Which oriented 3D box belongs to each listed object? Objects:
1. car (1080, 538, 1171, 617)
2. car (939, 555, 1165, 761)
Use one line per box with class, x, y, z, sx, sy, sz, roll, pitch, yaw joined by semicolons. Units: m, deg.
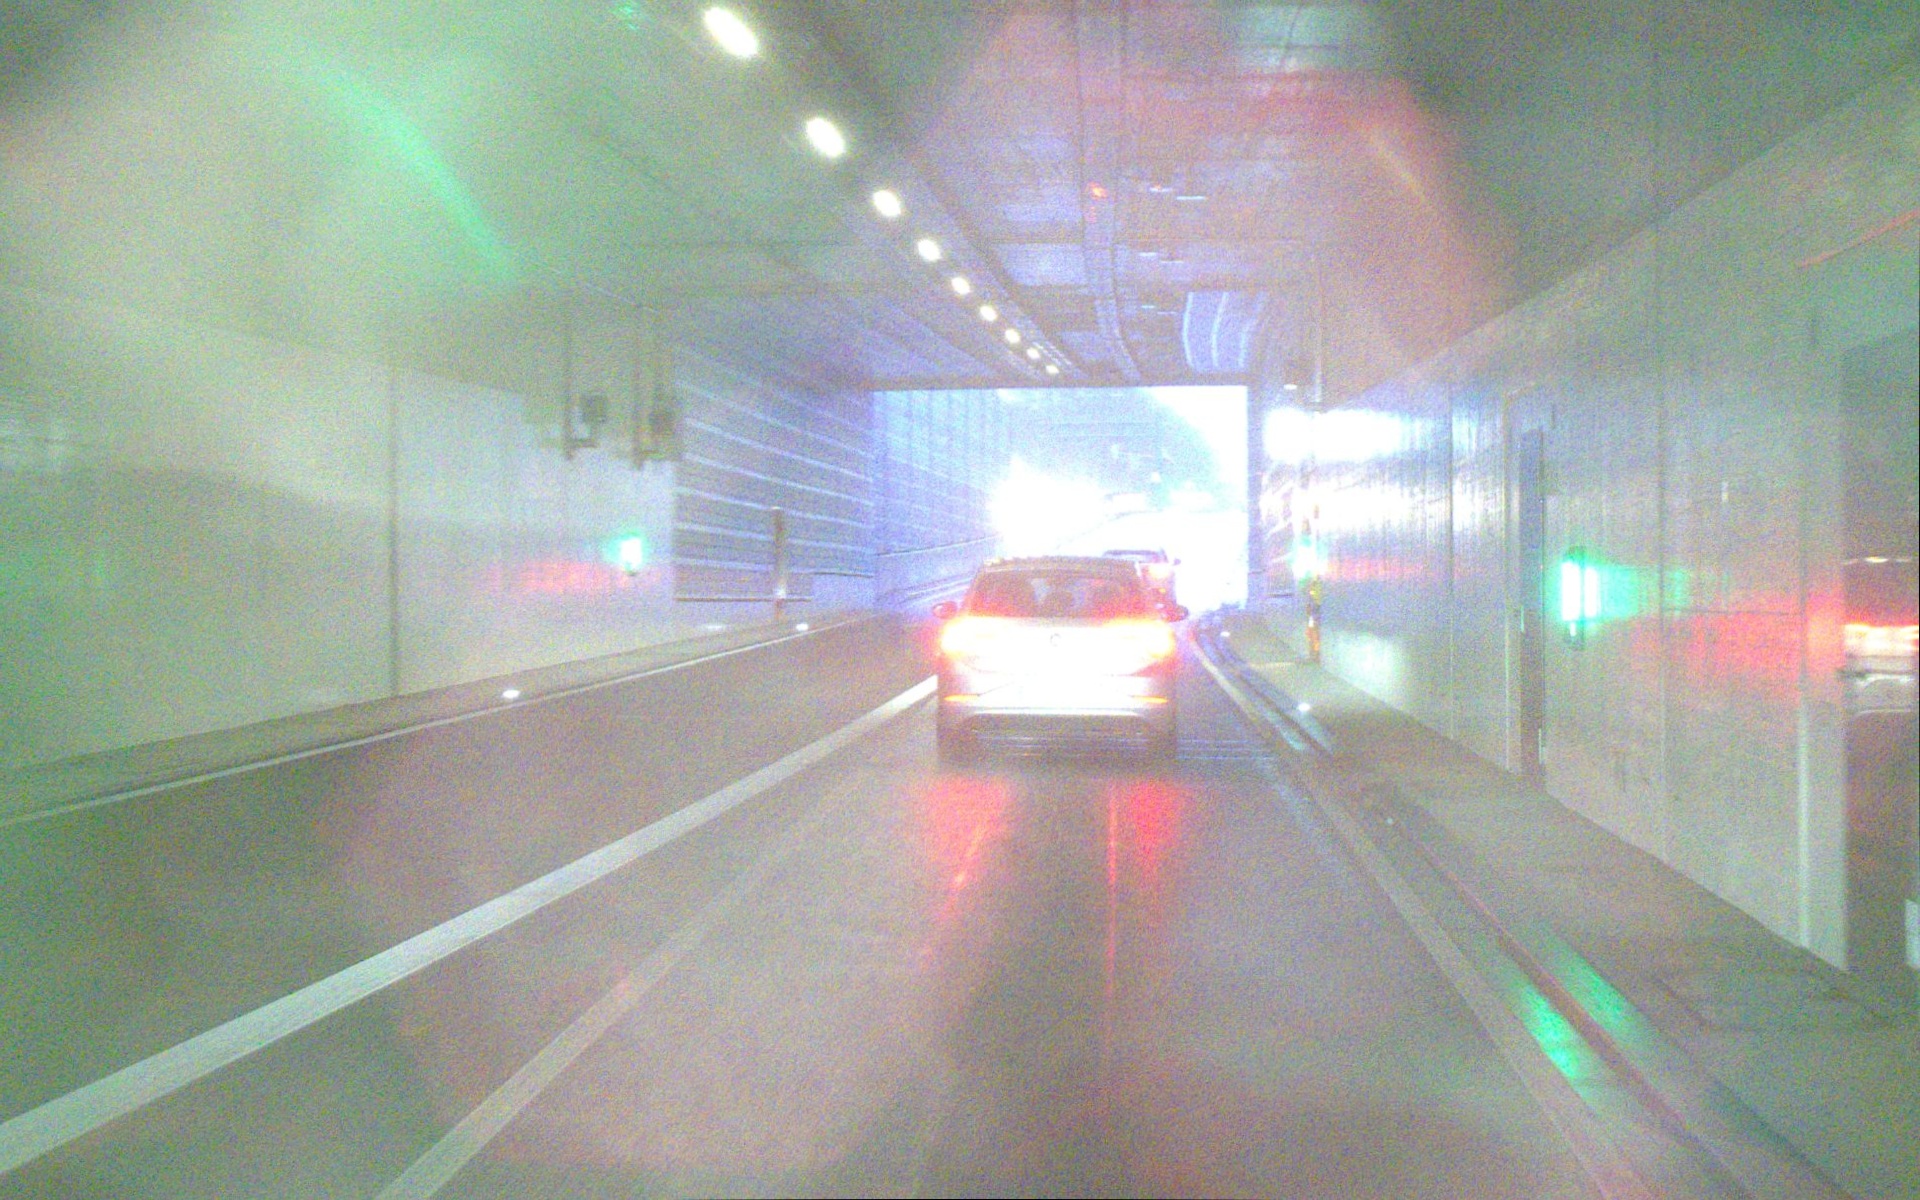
car;3.628;-0.461;75.008;1.880;1.615;3.999;2;0;3
car;0.709;0.386;25.497;1.532;1.392;3.433;1;0;2
